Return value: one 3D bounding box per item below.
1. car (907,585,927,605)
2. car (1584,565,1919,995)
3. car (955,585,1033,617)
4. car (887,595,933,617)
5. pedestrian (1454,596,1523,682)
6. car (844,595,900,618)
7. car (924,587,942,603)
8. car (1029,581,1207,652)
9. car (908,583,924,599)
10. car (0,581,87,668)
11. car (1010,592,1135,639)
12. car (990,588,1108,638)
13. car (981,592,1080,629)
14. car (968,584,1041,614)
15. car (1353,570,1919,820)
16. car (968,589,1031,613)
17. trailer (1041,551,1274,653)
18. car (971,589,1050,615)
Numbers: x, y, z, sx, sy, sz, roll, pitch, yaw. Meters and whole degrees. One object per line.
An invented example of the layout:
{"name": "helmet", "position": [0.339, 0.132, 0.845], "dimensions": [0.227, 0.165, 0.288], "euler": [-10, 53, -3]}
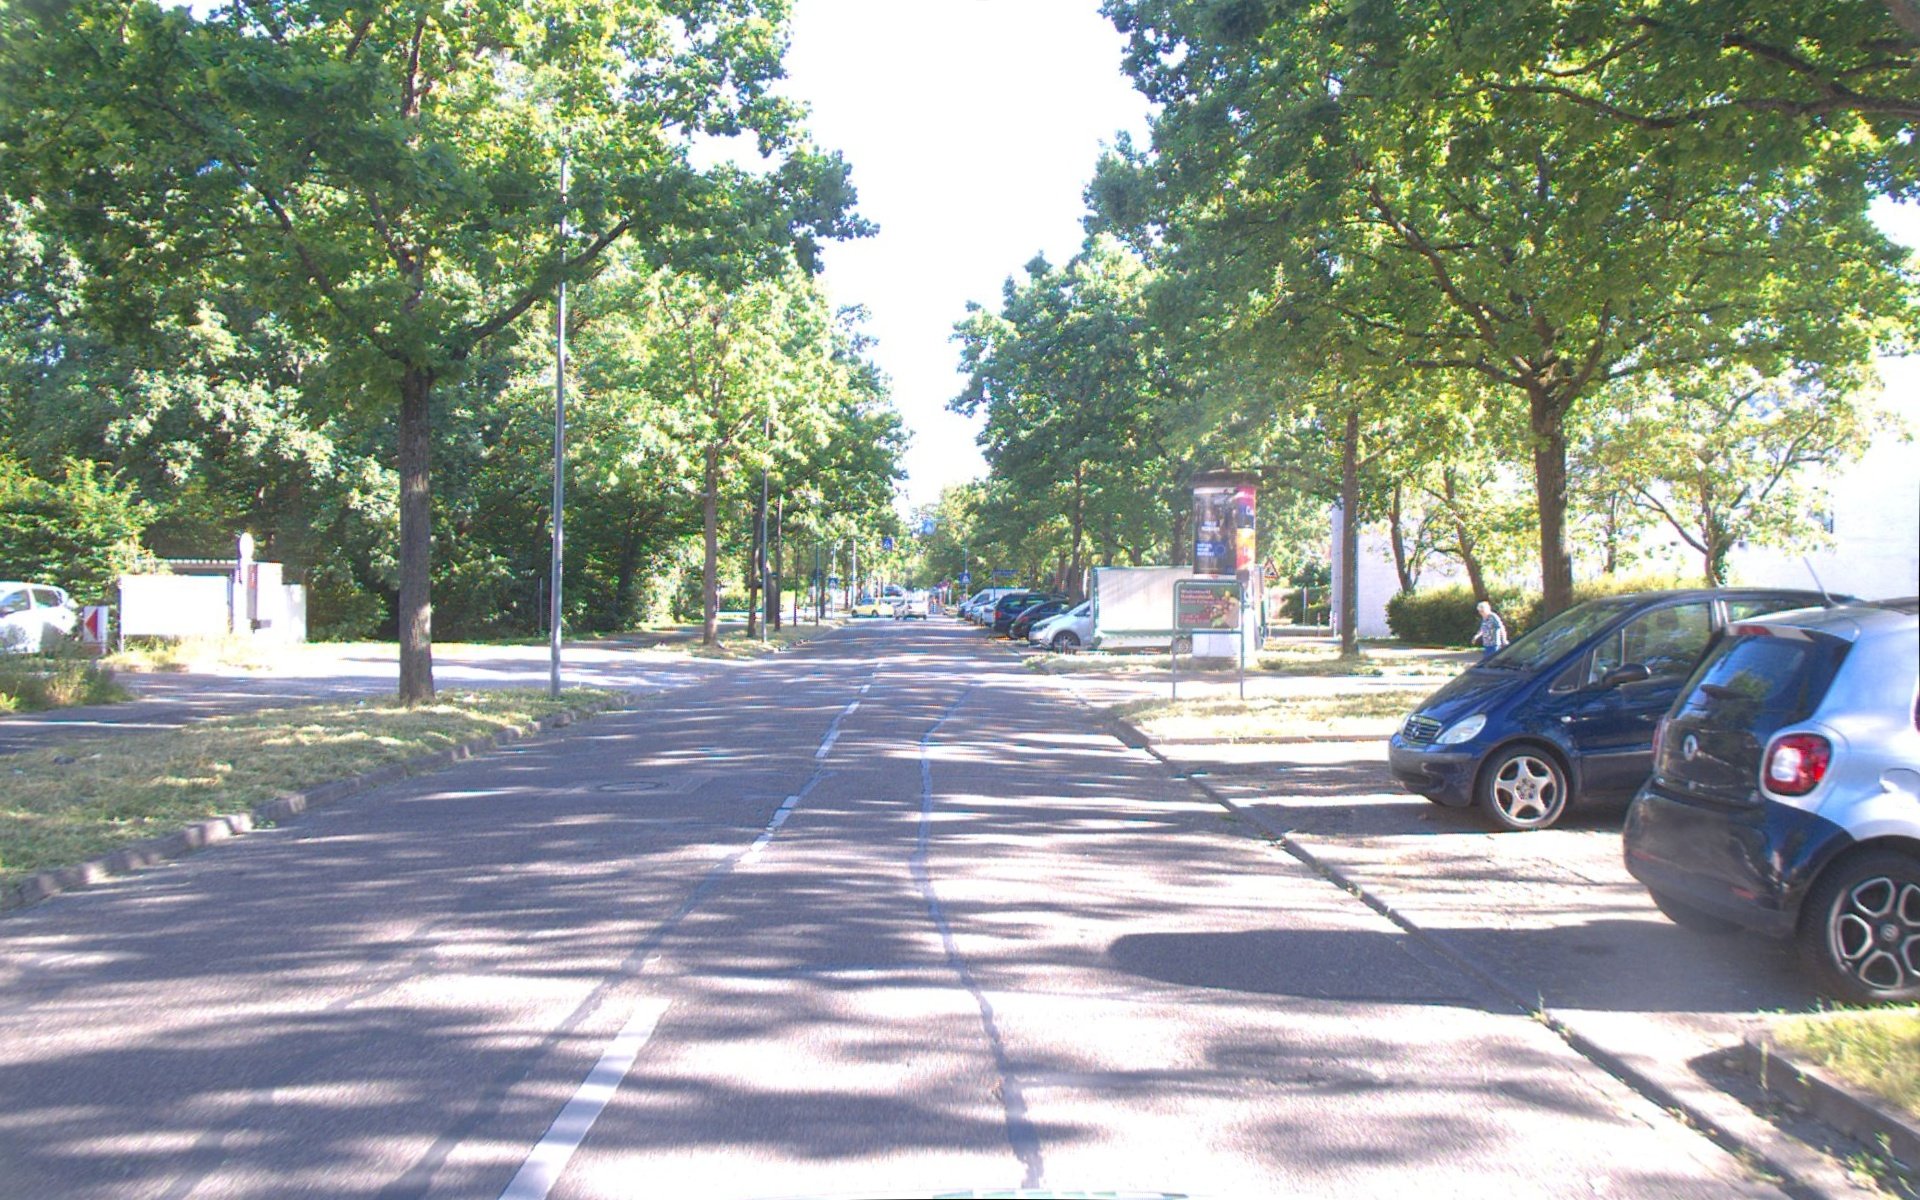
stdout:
{"name": "car", "position": [-4.399, -0.531, 167.068], "dimensions": [1.953, 1.966, 3.998], "euler": [1, 0, -2]}
{"name": "car", "position": [4.789, 0.639, 7.119], "dimensions": [3.510, 1.604, 1.786], "euler": [-1, 0, 0]}
{"name": "car", "position": [2.283, 0.051, 111.455], "dimensions": [5.084, 2.142, 2.081], "euler": [0, 0, -3]}
{"name": "car", "position": [-3.493, 0.398, 115.442], "dimensions": [1.966, 1.510, 3.972], "euler": [0, 0, -23]}
{"name": "pedestrian", "position": [9.762, 0.706, 30.533], "dimensions": [0.936, 1.526, 0.871], "euler": [-1, 1, -43]}
{"name": "car", "position": [-6.556, 0.449, 123.259], "dimensions": [3.930, 1.684, 1.987], "euler": [0, 0, 43]}
{"name": "car", "position": [-3.035, -0.591, 188.074], "dimensions": [1.953, 1.746, 3.998], "euler": [1, 0, -2]}
{"name": "car", "position": [4.210, 0.435, 44.542], "dimensions": [4.547, 1.752, 1.987], "euler": [-1, 0, -1]}
{"name": "car", "position": [-5.805, -1.201, 217.564], "dimensions": [1.953, 2.003, 3.998], "euler": [1, 0, -2]}
{"name": "car", "position": [-17.149, 0.418, 29.008], "dimensions": [1.513, 1.447, 3.489], "euler": [2, 0, 6]}
{"name": "car", "position": [3.866, 0.525, 57.385], "dimensions": [4.159, 1.545, 2.078], "euler": [-1, 0, -1]}
{"name": "car", "position": [3.421, 0.491, 64.081], "dimensions": [4.438, 1.832, 1.936], "euler": [-1, 0, -2]}
{"name": "car", "position": [3.301, 0.479, 78.426], "dimensions": [4.576, 1.608, 1.916], "euler": [-1, 1, -1]}
{"name": "car", "position": [2.720, -0.060, 101.158], "dimensions": [4.297, 1.680, 1.850], "euler": [-2, 1, -4]}
{"name": "car", "position": [4.887, 0.632, 12.119], "dimensions": [3.512, 1.604, 1.856], "euler": [-1, 0, -3]}
{"name": "car", "position": [2.452, 0.055, 103.685], "dimensions": [3.905, 1.458, 1.901], "euler": [0, 0, 0]}
{"name": "trailer", "position": [4.926, 0.046, 41.761], "dimensions": [5.656, 2.358, 1.686], "euler": [-2, 0, 0]}
{"name": "car", "position": [2.849, 0.124, 93.555], "dimensions": [4.355, 1.414, 1.910], "euler": [-1, 0, -2]}
